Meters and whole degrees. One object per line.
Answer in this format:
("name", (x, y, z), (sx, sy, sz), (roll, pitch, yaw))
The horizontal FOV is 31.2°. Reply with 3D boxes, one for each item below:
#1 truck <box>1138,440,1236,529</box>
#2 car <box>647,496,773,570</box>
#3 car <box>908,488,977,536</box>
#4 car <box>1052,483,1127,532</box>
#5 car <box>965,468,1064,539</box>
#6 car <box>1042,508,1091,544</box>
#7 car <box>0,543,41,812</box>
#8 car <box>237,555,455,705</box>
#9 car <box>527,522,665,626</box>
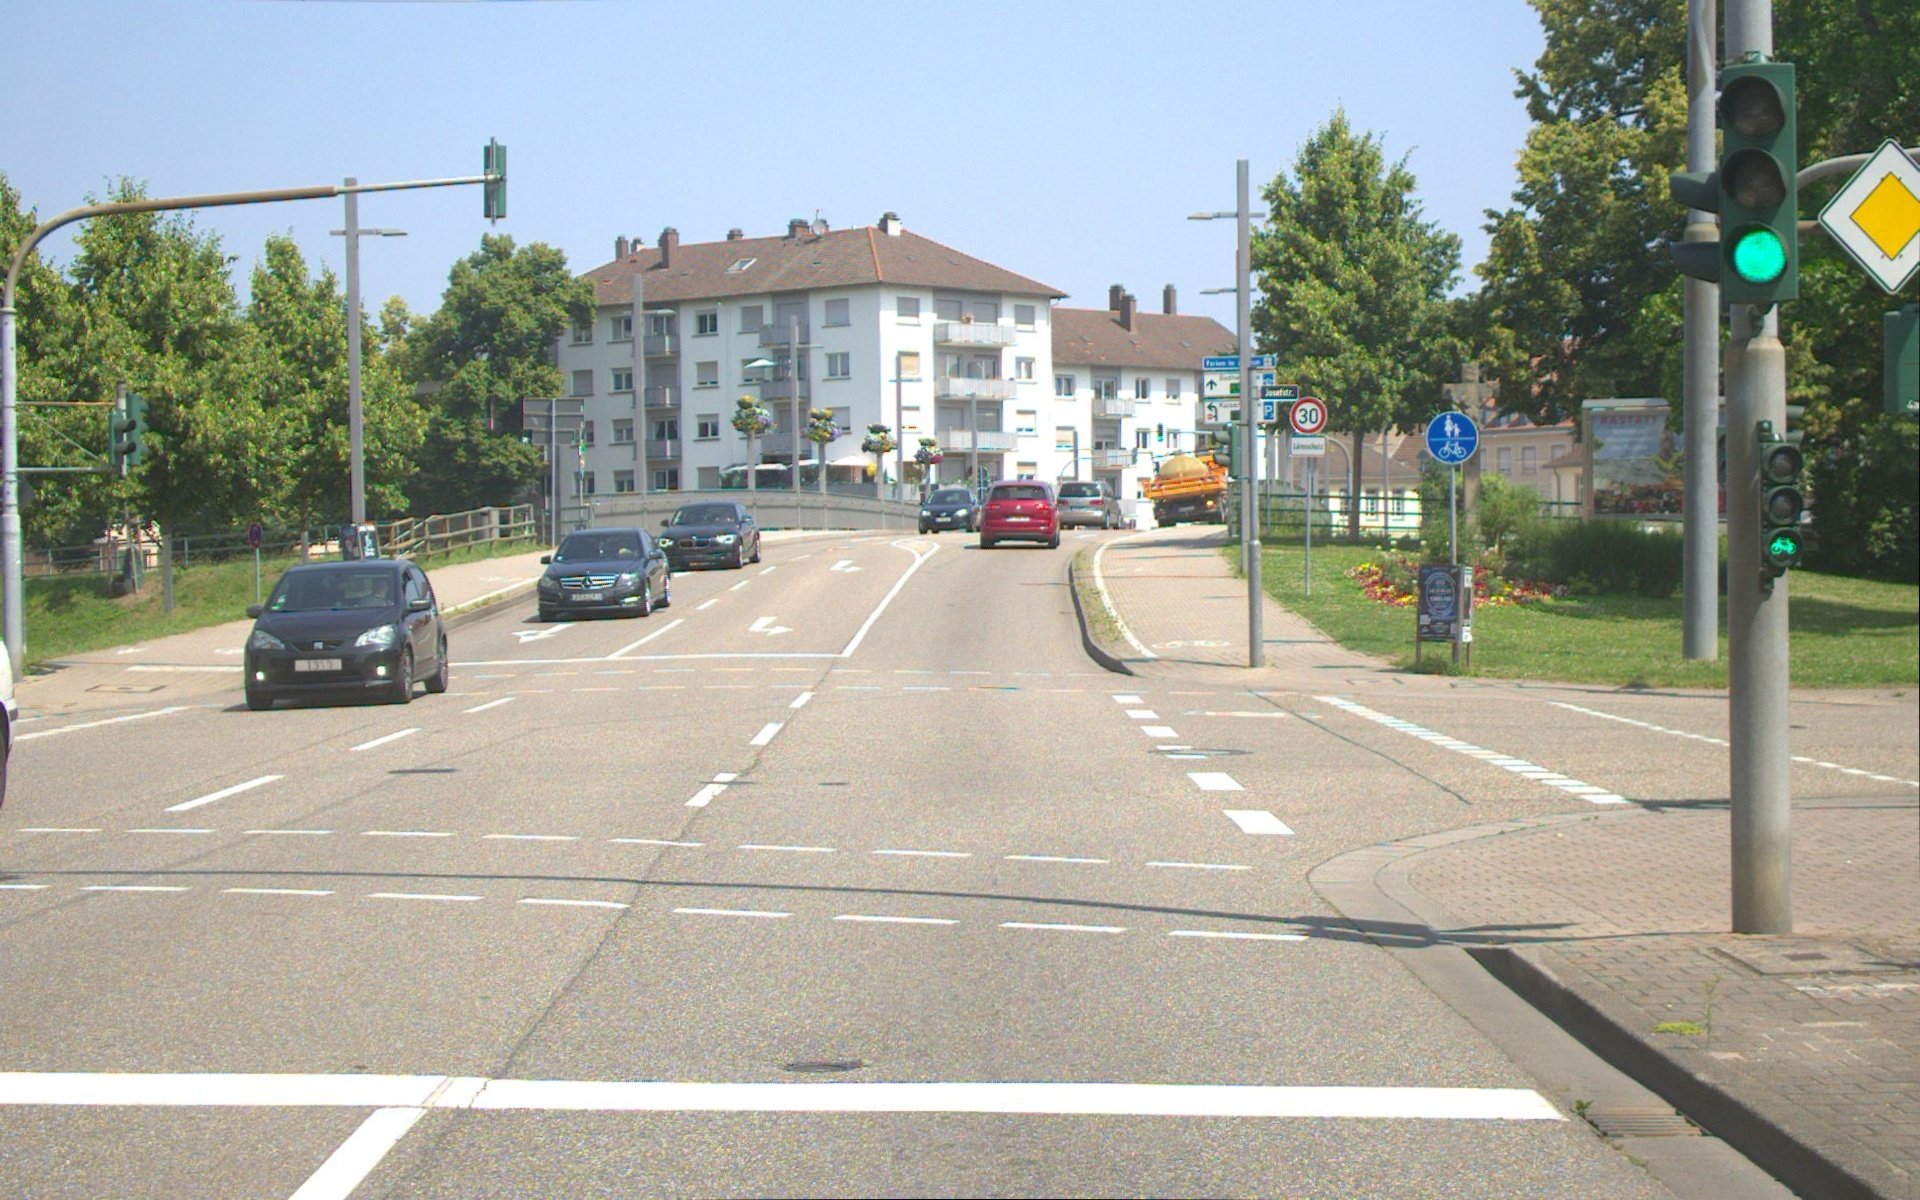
("truck", (7.214, -3.619, 108.631), (2.606, 2.682, 5.821), (-1, 1, 8))
("car", (-5.272, -1.429, 72.967), (1.837, 1.394, 4.049), (-4, 1, 7))
("car", (-0.557, -2.890, 113.334), (1.714, 1.480, 4.030), (1, 1, 7))
("car", (4.307, -3.044, 113.881), (2.038, 1.498, 4.416), (1, 1, 8))
("car", (1.327, -2.273, 81.891), (1.990, 1.607, 4.342), (-1, 1, 6))
("car", (4.553, -3.152, 146.588), (1.714, 1.480, 4.030), (1, 1, 7))
("car", (-6.310, 0.474, 17.915), (1.815, 1.513, 4.631), (-1, 1, -1))
("car", (-6.284, 0.277, 35.523), (1.616, 1.451, 3.710), (-1, 1, -1))
("car", (-5.952, -0.458, 56.619), (1.755, 1.555, 4.318), (-3, 1, 0))
